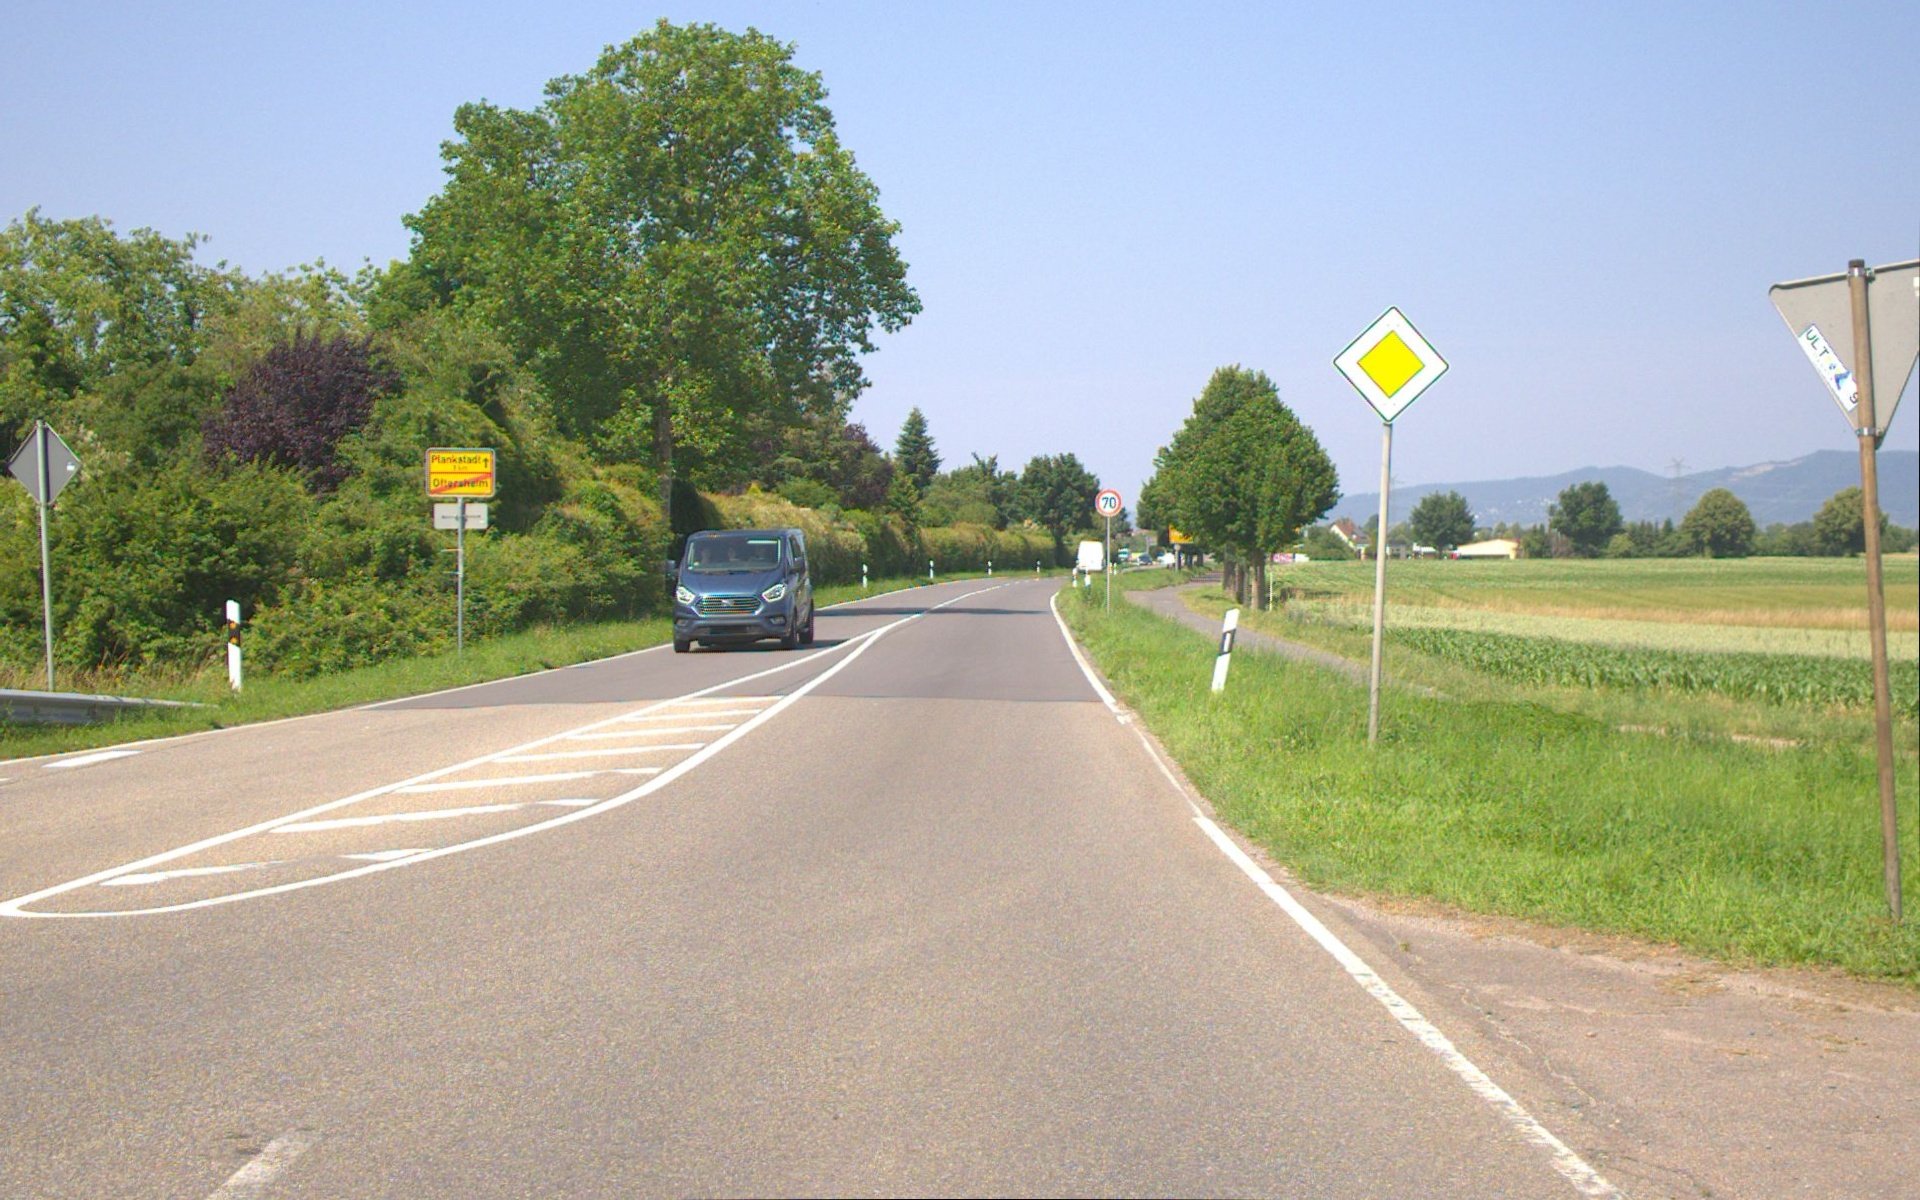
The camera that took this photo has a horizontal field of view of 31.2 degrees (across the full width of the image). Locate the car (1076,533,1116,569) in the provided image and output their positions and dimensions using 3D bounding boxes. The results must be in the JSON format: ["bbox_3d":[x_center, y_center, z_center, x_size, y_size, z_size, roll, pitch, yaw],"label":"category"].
[{"bbox_3d":[10.238,-3.695,258.356,1.995,2.642,3.997,0,1,17],"label":"car"}]

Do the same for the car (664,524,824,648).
[{"bbox_3d":[-3.532,-0.277,57.078,2.144,1.944,5.247,-1,1,2],"label":"car"}]
